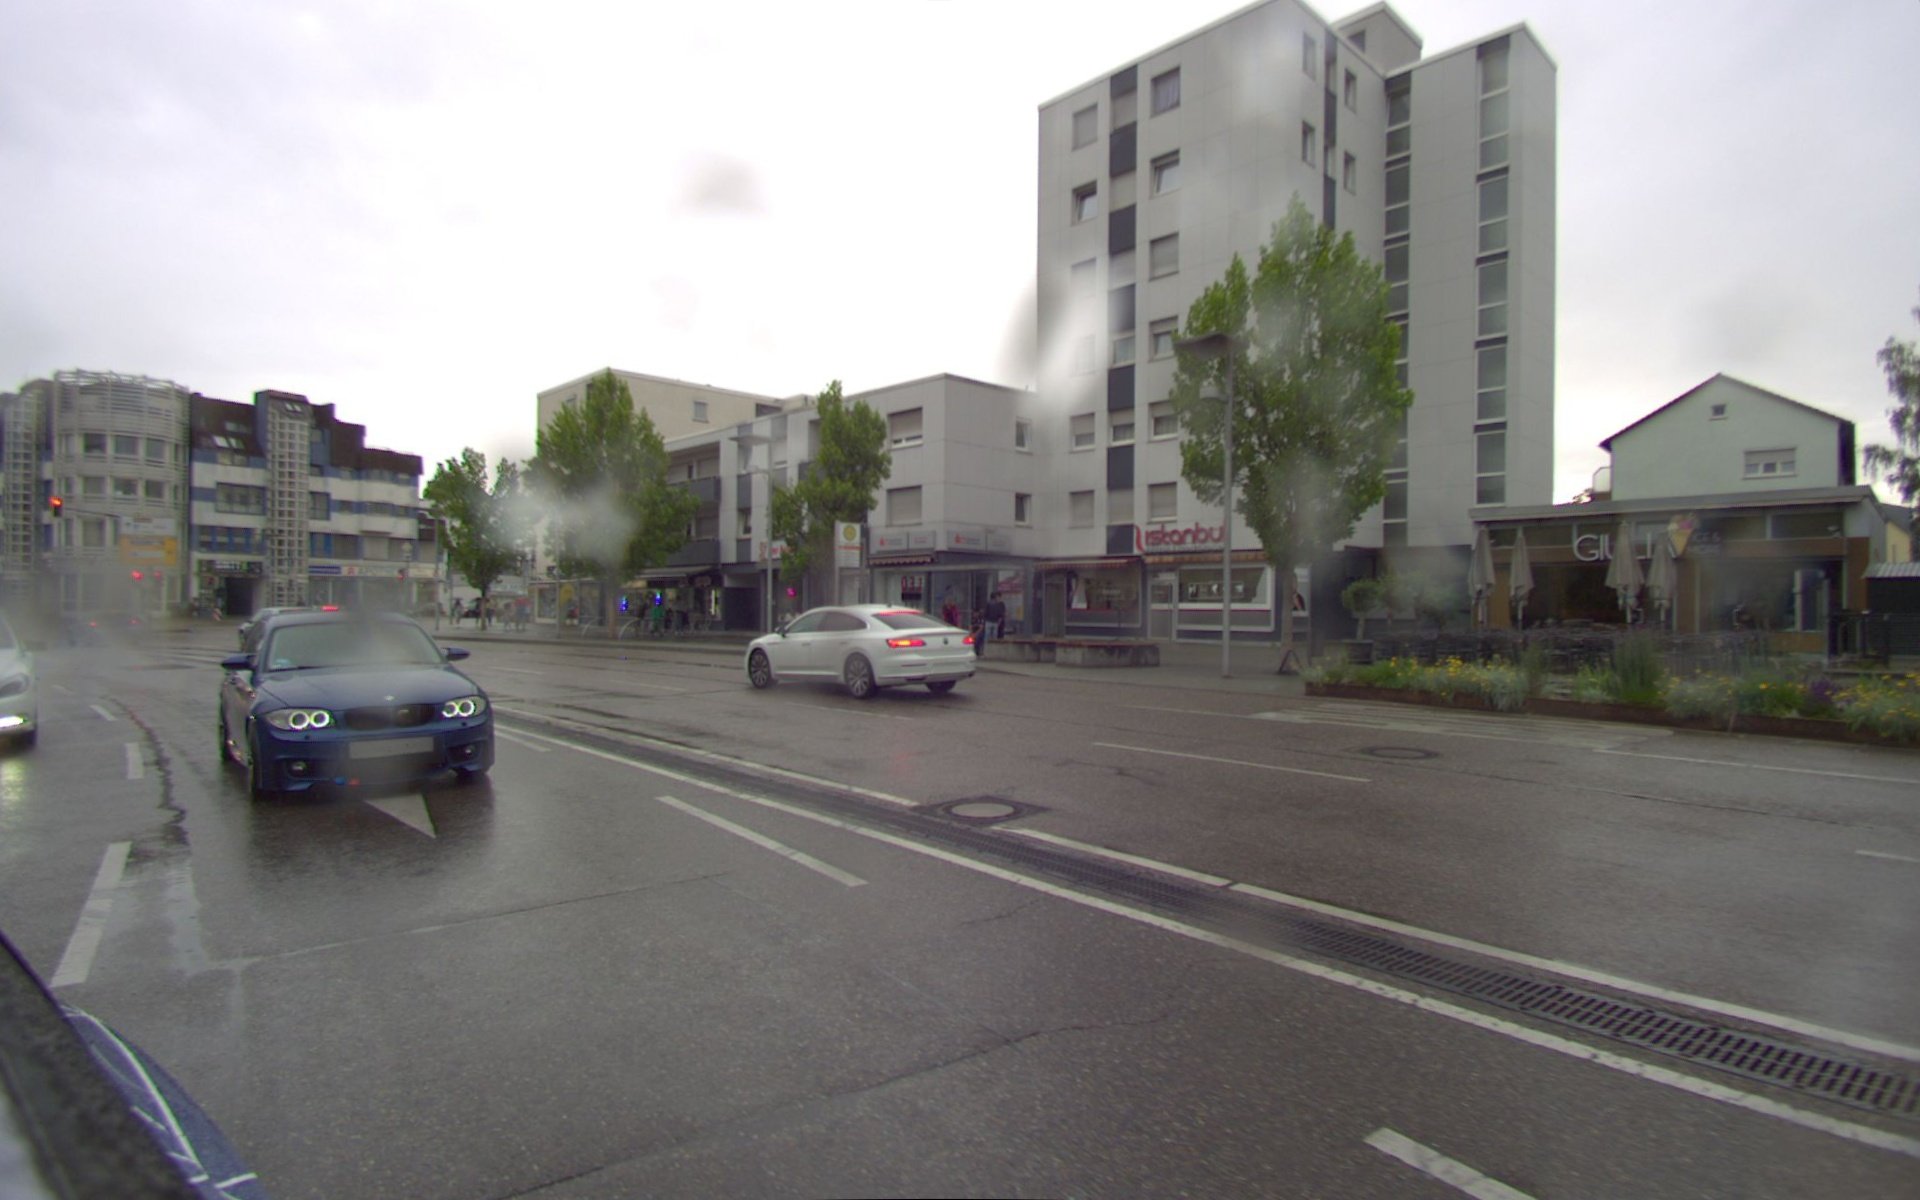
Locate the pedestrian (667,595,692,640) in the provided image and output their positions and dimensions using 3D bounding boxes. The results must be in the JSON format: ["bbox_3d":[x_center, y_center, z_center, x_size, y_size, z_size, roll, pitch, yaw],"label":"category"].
[{"bbox_3d":[-12.855,0.795,46.374,0.749,2.029,0.865,0,-1,-43],"label":"pedestrian"}]

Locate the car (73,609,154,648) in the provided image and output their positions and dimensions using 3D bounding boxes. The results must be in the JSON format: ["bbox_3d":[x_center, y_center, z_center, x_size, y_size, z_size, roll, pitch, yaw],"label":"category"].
[{"bbox_3d":[-33.689,1.125,40.240,3.996,1.462,1.740,-2,-1,39],"label":"car"}]

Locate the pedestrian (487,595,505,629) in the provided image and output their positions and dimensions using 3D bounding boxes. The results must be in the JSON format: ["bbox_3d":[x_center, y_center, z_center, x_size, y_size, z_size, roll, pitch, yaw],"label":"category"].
[{"bbox_3d":[-28.472,0.730,62.044,0.864,2.029,0.750,-1,-1,44],"label":"pedestrian"}]

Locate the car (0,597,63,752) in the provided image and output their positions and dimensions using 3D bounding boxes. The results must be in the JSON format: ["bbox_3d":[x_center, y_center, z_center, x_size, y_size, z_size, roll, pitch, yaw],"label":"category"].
[{"bbox_3d":[-11.583,0.802,11.477,1.734,1.561,4.336,-1,0,-37],"label":"car"}]

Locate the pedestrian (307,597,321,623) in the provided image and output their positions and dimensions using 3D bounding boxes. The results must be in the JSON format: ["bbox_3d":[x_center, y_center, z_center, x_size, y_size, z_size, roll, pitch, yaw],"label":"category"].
[{"bbox_3d":[-44.354,0.673,69.488,0.672,1.756,0.587,-1,0,-19],"label":"pedestrian"}]

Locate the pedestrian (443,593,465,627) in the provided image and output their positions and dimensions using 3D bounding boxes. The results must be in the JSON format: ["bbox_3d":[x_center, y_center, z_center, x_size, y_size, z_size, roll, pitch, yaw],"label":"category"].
[{"bbox_3d":[-28.971,0.593,57.980,0.892,1.929,0.979,0,-1,-42],"label":"pedestrian"}]

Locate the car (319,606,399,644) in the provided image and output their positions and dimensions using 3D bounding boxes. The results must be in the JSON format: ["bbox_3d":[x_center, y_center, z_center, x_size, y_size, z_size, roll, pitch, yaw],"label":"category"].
[{"bbox_3d":[-24.169,1.001,40.660,4.000,1.438,1.738,-2,-1,43],"label":"car"}]

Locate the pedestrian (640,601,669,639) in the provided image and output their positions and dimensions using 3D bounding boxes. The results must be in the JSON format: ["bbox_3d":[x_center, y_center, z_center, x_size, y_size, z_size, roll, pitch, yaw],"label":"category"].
[{"bbox_3d":[-13.631,0.891,45.148,0.727,1.658,0.996,-1,0,45],"label":"pedestrian"}]

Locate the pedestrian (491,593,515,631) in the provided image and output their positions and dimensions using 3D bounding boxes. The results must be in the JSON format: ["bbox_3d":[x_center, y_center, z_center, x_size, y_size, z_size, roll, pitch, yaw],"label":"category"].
[{"bbox_3d":[-24.406,0.644,54.060,0.978,2.029,0.893,-1,-1,45],"label":"pedestrian"}]

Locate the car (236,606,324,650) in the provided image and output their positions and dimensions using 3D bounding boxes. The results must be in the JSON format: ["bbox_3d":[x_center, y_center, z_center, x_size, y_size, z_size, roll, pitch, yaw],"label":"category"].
[{"bbox_3d":[-24.563,0.982,36.509,4.103,1.477,1.681,0,-2,43],"label":"car"}]

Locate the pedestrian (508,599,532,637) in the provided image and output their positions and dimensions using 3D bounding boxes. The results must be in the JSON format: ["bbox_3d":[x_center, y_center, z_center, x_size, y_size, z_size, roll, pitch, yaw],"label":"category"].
[{"bbox_3d":[-23.872,0.981,54.889,0.978,2.029,0.893,-1,-1,45],"label":"pedestrian"}]

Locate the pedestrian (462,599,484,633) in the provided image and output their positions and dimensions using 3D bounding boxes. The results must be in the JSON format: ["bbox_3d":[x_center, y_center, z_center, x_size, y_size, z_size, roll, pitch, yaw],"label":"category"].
[{"bbox_3d":[-28.254,0.926,58.742,0.978,1.929,0.893,-1,-1,45],"label":"pedestrian"}]

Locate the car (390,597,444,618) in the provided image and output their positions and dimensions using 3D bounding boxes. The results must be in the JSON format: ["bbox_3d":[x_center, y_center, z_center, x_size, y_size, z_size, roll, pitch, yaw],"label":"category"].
[{"bbox_3d":[-47.282,0.639,88.188,1.739,1.733,3.859,0,0,27],"label":"car"}]

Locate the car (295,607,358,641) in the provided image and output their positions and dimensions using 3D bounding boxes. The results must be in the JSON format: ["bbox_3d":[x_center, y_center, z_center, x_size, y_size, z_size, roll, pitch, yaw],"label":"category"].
[{"bbox_3d":[-28.658,1.040,45.697,1.735,1.437,4.896,0,0,-40],"label":"car"}]

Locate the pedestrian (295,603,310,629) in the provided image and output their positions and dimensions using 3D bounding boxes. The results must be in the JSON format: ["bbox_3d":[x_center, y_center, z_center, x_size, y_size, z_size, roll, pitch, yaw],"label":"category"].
[{"bbox_3d":[-44.051,1.071,67.800,0.825,1.756,0.586,-1,0,-39],"label":"pedestrian"}]

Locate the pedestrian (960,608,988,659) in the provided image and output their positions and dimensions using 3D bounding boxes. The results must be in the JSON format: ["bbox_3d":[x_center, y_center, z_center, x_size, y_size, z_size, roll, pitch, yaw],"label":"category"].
[{"bbox_3d":[0.388,0.916,27.977,0.528,1.362,0.580,0,-1,-38],"label":"pedestrian"}]

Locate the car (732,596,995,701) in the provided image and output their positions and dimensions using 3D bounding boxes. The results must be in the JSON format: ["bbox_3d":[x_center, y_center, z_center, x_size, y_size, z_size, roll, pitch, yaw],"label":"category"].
[{"bbox_3d":[-1.745,0.694,16.667,1.820,1.472,4.815,0,0,-42],"label":"car"}]

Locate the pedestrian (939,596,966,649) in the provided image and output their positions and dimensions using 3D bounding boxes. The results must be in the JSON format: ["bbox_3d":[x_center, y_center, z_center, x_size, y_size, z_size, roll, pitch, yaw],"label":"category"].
[{"bbox_3d":[-0.203,0.643,28.981,0.611,1.516,0.532,0,-1,23],"label":"pedestrian"}]

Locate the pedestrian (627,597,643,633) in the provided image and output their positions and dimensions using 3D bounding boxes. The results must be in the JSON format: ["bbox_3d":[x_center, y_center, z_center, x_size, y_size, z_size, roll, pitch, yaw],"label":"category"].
[{"bbox_3d":[-15.839,0.724,49.335,0.541,1.763,0.681,0,-1,-43],"label":"pedestrian"}]

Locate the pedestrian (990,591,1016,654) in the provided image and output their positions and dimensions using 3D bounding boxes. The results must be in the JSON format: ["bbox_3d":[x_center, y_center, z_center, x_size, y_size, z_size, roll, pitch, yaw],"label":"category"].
[{"bbox_3d":[1.159,0.610,27.264,0.528,1.672,0.480,0,-1,-38],"label":"pedestrian"}]

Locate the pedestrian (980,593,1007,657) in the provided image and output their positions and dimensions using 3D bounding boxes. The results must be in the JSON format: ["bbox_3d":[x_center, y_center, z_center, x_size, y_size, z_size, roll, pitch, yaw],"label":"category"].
[{"bbox_3d":[0.887,0.651,26.559,0.472,1.672,0.537,0,-1,-43],"label":"pedestrian"}]

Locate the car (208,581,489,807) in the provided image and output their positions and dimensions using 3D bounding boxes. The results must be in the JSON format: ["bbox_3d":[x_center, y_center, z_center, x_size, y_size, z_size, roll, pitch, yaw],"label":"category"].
[{"bbox_3d":[-5.598,0.687,9.025,1.650,1.555,3.920,0,-1,-39],"label":"car"}]
